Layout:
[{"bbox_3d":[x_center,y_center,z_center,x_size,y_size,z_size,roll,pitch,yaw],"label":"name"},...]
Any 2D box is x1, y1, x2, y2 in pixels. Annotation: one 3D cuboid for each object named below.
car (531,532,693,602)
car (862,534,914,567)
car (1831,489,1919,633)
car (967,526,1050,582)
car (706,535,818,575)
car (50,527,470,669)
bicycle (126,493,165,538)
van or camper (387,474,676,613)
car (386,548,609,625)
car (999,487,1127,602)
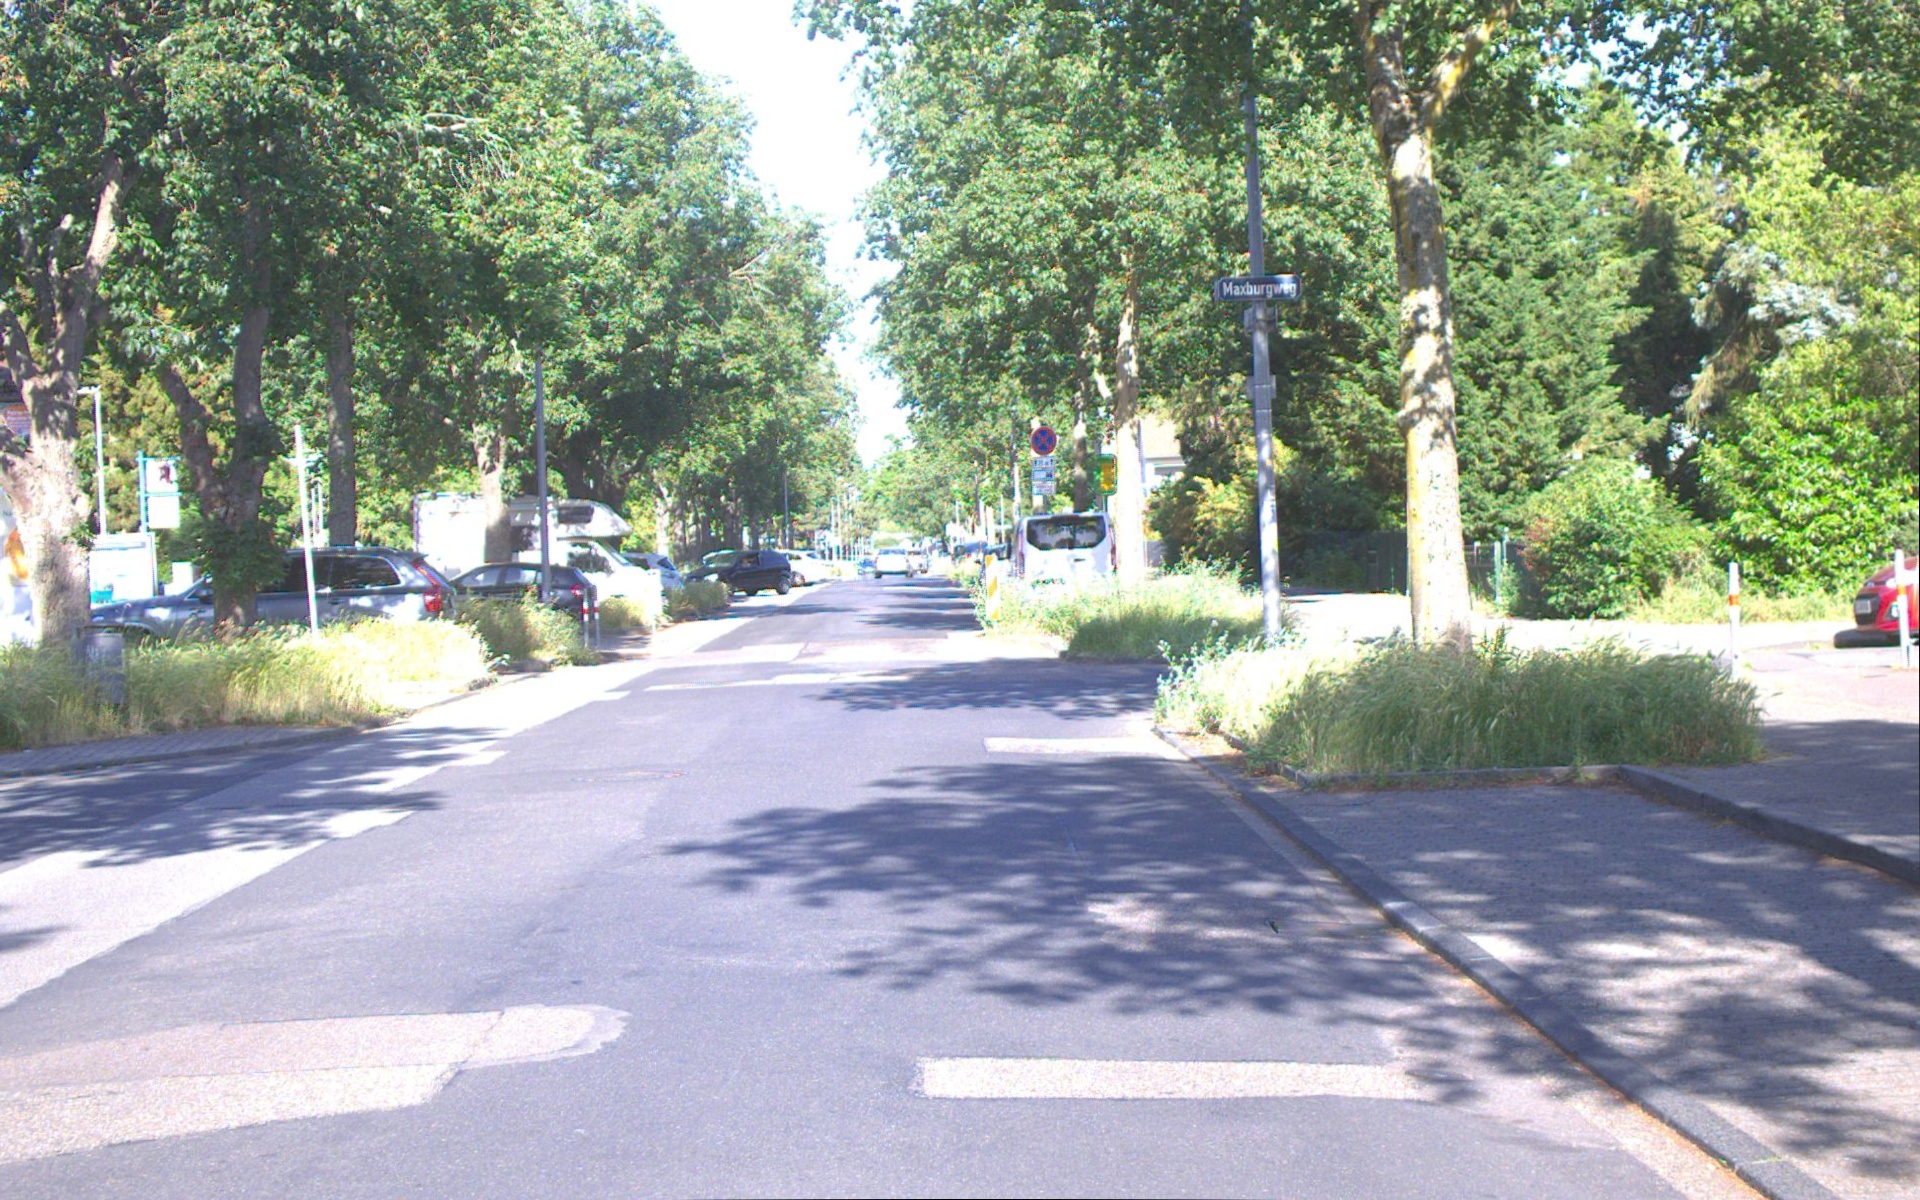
[{"bbox_3d":[-8.978,-0.861,88.897,3.986,1.655,1.967,-2,1,-2],"label":"car"},{"bbox_3d":[-3.410,-2.325,162.448,1.993,1.503,3.659,1,1,-8],"label":"car"},{"bbox_3d":[11.569,-0.489,37.692,3.540,1.505,1.640,-2,2,-4],"label":"car"},{"bbox_3d":[1.456,-1.356,101.103,1.994,1.505,3.999,-3,0,6],"label":"car"},{"bbox_3d":[-7.878,-1.809,137.136,4.211,1.450,2.000,-2,1,3],"label":"car"},{"bbox_3d":[-8.931,-0.034,44.222,5.060,1.722,2.000,1,0,-4],"label":"car"},{"bbox_3d":[-22.239,-2.300,93.820,0.703,1.172,4.058,-3,2,-17],"label":"bicycle"},{"bbox_3d":[-8.954,-1.176,72.156,5.776,2.795,2.000,1,0,1],"label":"van or camper"},{"bbox_3d":[-8.768,-0.259,65.350,3.987,1.445,1.639,0,0,3],"label":"car"},{"bbox_3d":[1.849,-1.014,63.483,1.993,2.007,5.197,1,1,-2],"label":"car"}]
